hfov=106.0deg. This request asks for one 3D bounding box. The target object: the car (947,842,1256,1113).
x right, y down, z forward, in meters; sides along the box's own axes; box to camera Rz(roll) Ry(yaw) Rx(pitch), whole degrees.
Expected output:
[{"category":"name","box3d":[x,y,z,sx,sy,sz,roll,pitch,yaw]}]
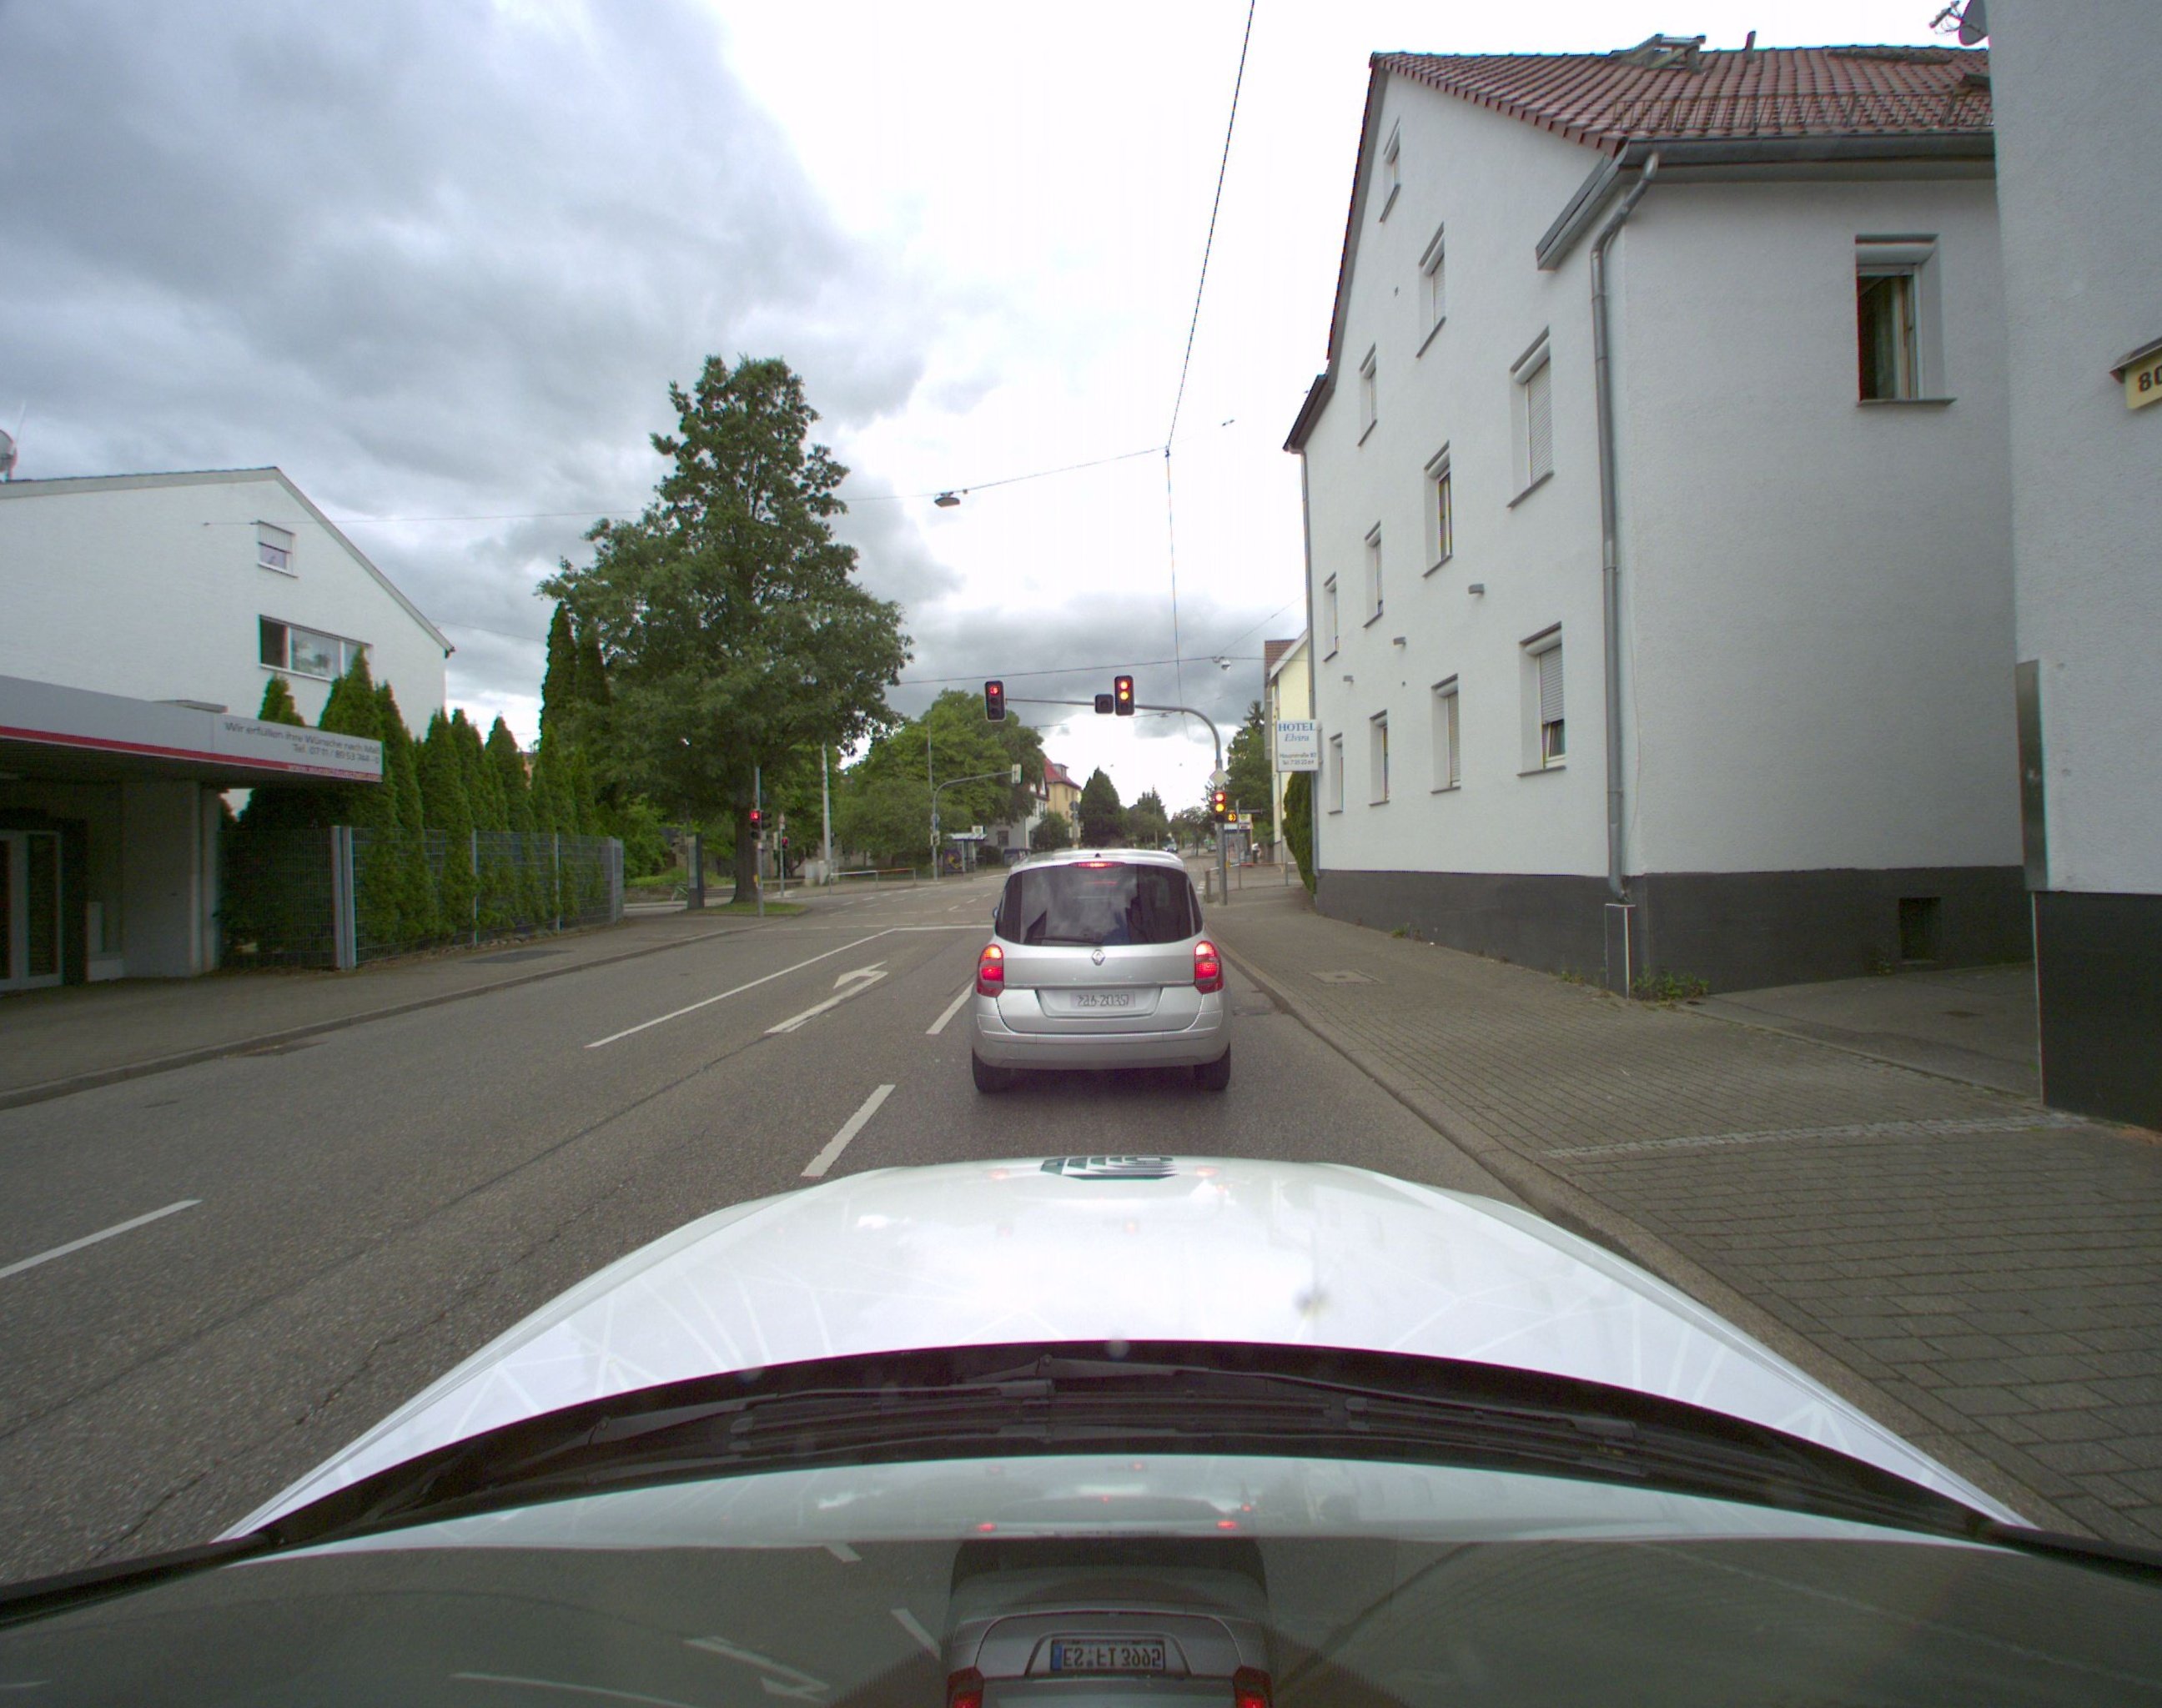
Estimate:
[{"category":"car","box3d":[0.165,0.712,6.667,1.748,1.530,4.001,-1,0,1]}]

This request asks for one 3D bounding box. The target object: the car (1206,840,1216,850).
[{"category":"car","box3d":[33.255,-2.333,208.371,2.044,2.512,5.616,-1,0,14]}]

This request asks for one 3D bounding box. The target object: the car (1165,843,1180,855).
[{"category":"car","box3d":[13.931,-0.800,123.818,1.844,1.748,4.015,-1,0,13]}]

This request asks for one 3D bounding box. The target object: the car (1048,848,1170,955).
[{"category":"car","box3d":[0.457,0.694,13.749,1.748,1.530,3.798,-1,0,1]}]

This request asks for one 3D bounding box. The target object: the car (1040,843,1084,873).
[{"category":"car","box3d":[-1.224,0.262,54.388,1.913,1.773,4.013,-6,-1,12]}]

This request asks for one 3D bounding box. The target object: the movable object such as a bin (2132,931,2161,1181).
[{"category":"movable object such as a bin","box3d":[4.328,0.752,2.874,0.538,0.941,0.487,-4,-1,2]}]

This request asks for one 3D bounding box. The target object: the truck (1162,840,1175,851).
[{"category":"truck","box3d":[17.888,-1.740,166.368,2.088,2.013,5.766,-1,0,11]}]
